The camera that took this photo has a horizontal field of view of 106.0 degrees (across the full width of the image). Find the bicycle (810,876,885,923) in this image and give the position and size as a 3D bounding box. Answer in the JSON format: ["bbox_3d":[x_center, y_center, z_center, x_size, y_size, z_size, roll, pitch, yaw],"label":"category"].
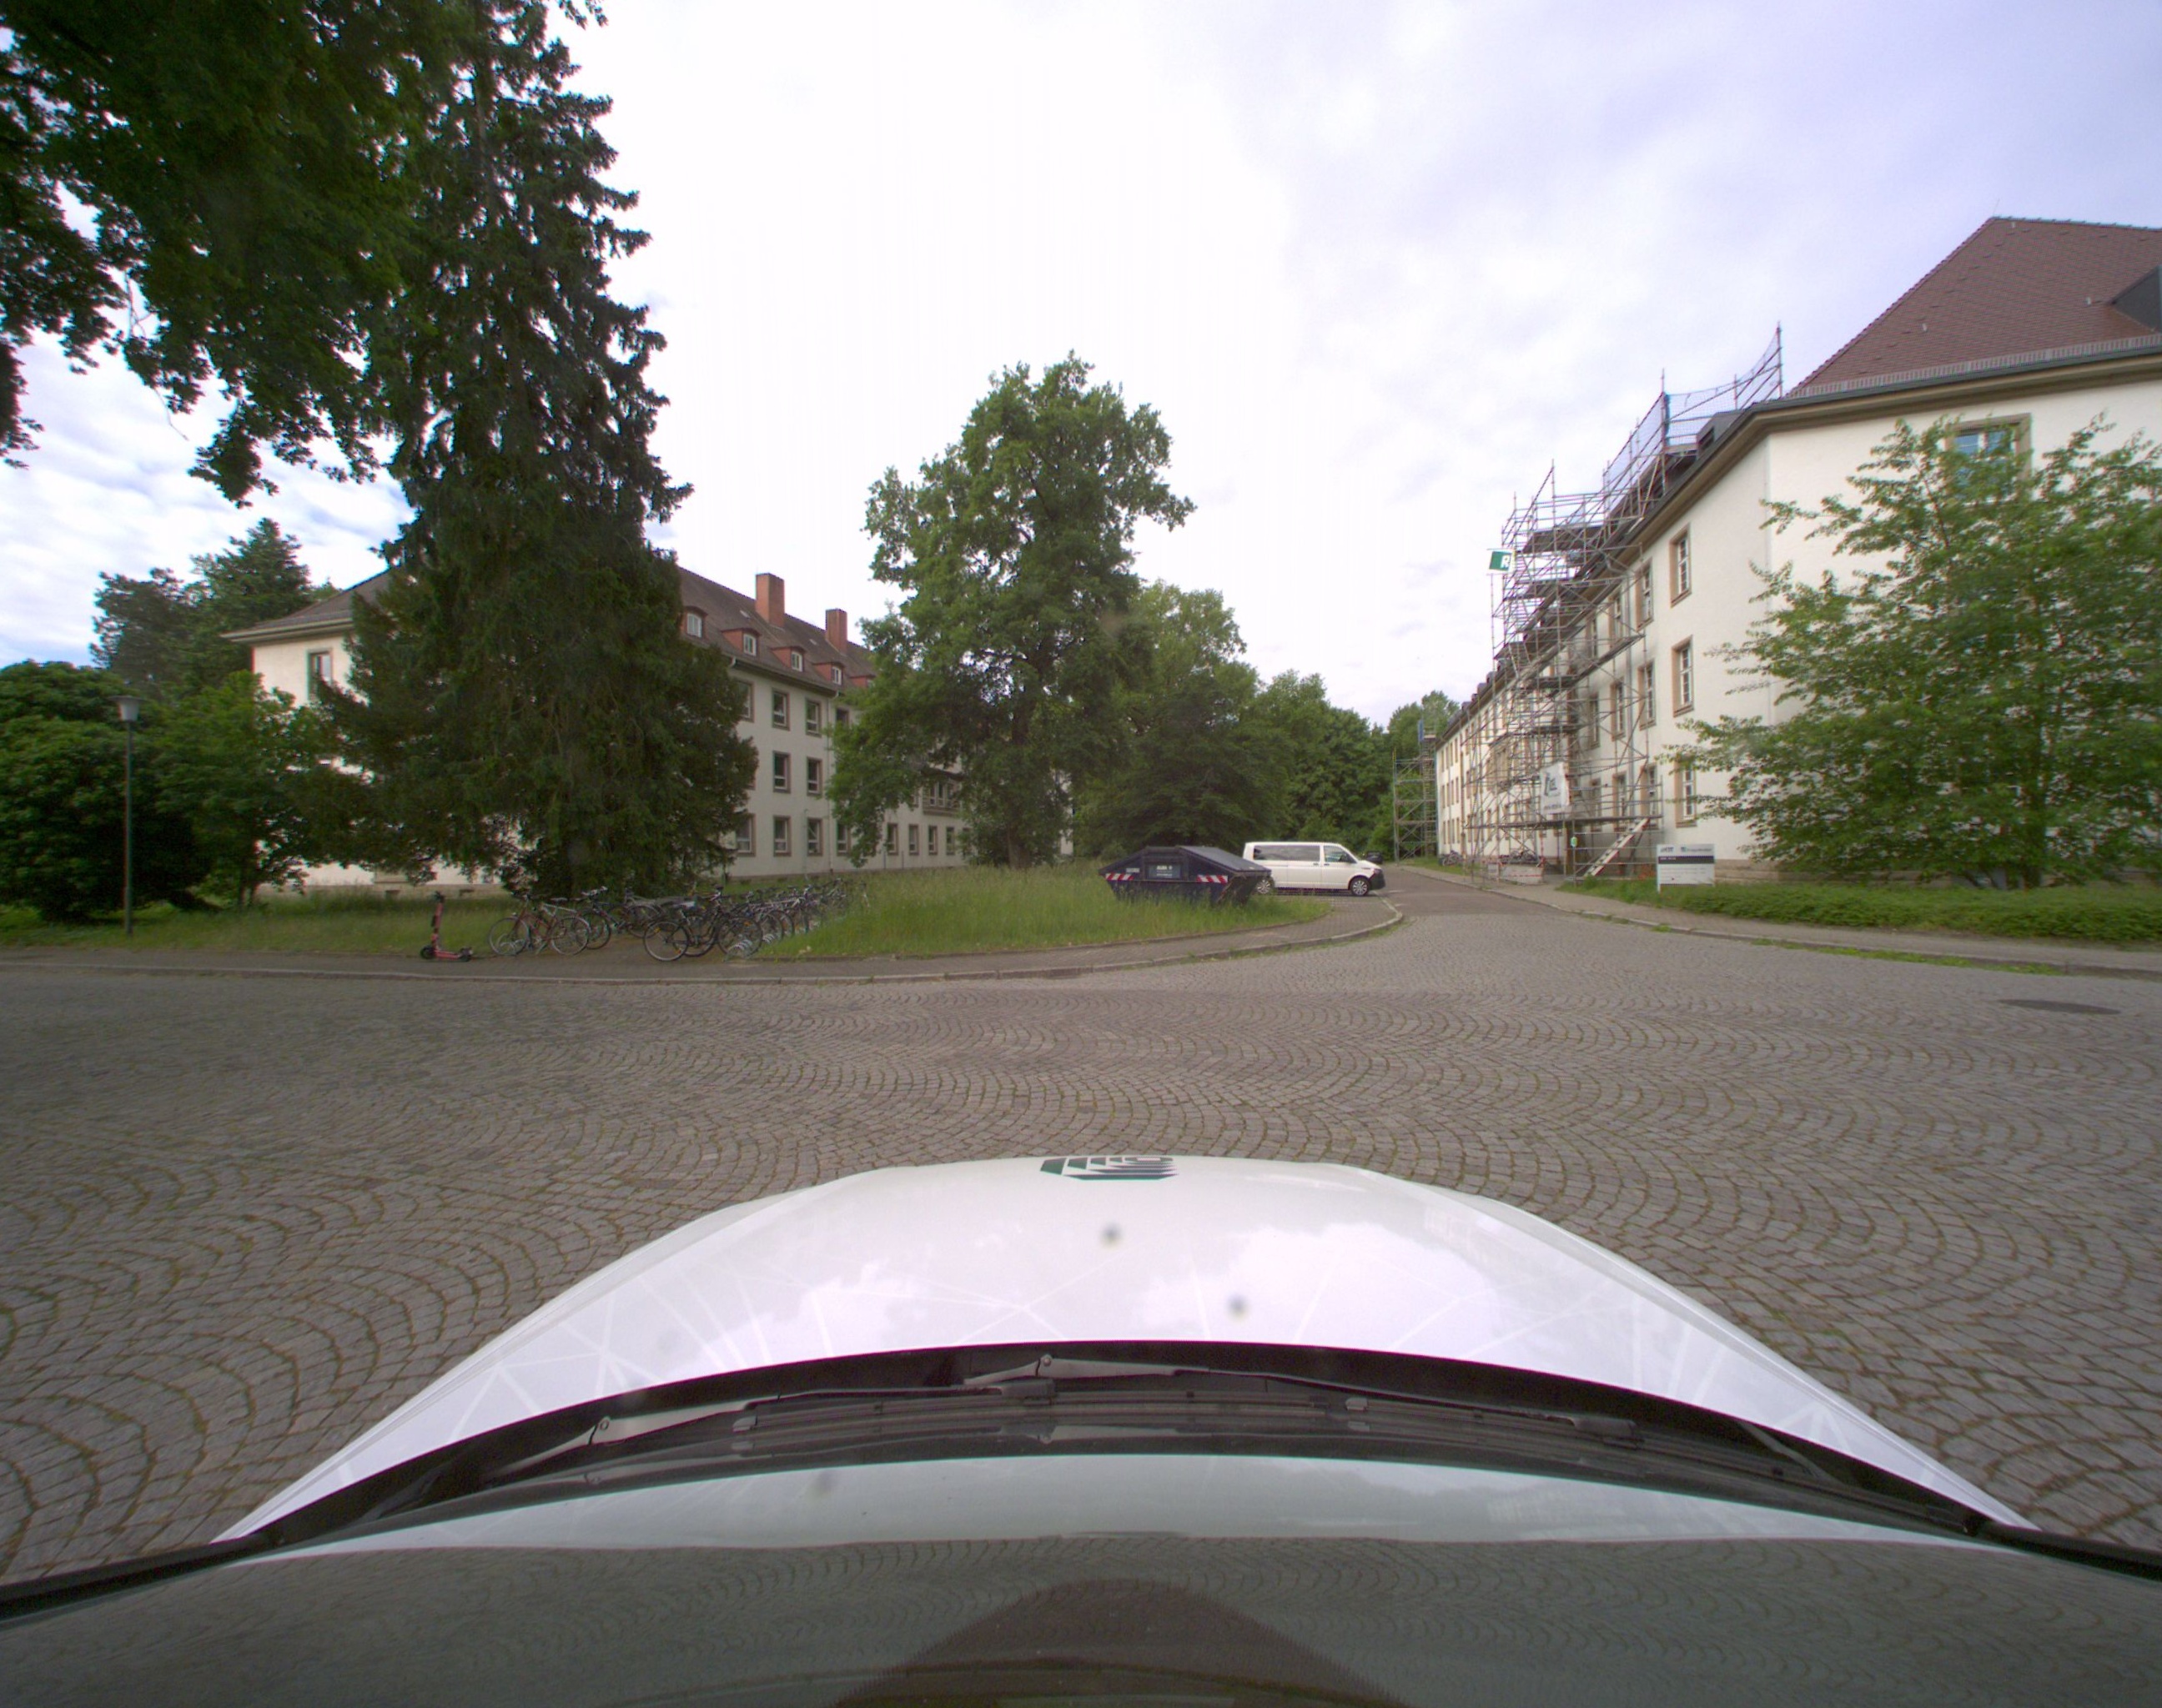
[{"bbox_3d":[-5.923,1.151,20.700,1.753,1.112,0.478,-1,-1,0],"label":"bicycle"}]

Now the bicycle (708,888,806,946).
[{"bbox_3d":[-6.208,1.198,15.640,1.656,1.008,0.478,-3,-1,0],"label":"bicycle"}]

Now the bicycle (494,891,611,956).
[{"bbox_3d":[-9.881,1.291,15.264,1.794,1.114,0.551,-1,-1,-1],"label":"bicycle"}]

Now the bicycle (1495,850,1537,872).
[{"bbox_3d":[22.202,0.371,41.624,1.839,1.095,0.514,-2,-1,24],"label":"bicycle"}]

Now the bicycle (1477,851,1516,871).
[{"bbox_3d":[22.918,0.390,44.962,1.839,1.095,0.514,-2,-1,24],"label":"bicycle"}]

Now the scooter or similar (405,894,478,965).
[{"bbox_3d":[-11.240,1.322,14.312,1.126,1.210,0.359,-1,-1,12],"label":"scooter or similar"}]

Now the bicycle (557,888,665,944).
[{"bbox_3d":[-9.761,1.267,16.962,1.819,1.065,0.616,-1,-1,-9],"label":"bicycle"}]

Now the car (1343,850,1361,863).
[{"bbox_3d":[29.817,0.239,89.705,1.567,1.339,3.969,-1,0,15],"label":"car"}]

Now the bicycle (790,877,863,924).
[{"bbox_3d":[-6.297,1.158,20.165,1.638,1.112,0.443,-1,-1,6],"label":"bicycle"}]

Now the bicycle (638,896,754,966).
[{"bbox_3d":[-6.286,1.244,13.364,1.620,1.008,0.475,-3,-1,-14],"label":"bicycle"}]

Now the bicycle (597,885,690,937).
[{"bbox_3d":[-9.834,1.270,18.341,1.748,1.065,0.550,-1,-1,-9],"label":"bicycle"}]

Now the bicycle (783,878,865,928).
[{"bbox_3d":[-6.031,1.140,19.173,1.753,1.112,0.478,-1,-1,0],"label":"bicycle"}]

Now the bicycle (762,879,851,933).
[{"bbox_3d":[-5.996,1.129,17.862,1.757,1.112,0.477,-1,-1,-5],"label":"bicycle"}]

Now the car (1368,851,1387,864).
[{"bbox_3d":[32.620,0.339,89.536,1.567,1.371,3.969,-1,0,15],"label":"car"}]

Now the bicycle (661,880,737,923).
[{"bbox_3d":[-9.842,1.222,20.999,1.671,1.042,0.552,-1,-1,2],"label":"bicycle"}]

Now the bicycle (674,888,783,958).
[{"bbox_3d":[-6.052,1.172,14.038,1.620,1.074,0.475,-3,-1,-14],"label":"bicycle"}]

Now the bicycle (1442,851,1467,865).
[{"bbox_3d":[29.623,0.324,64.604,1.839,1.095,0.514,-2,-1,24],"label":"bicycle"}]

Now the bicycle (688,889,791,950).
[{"bbox_3d":[-6.287,1.194,15.021,1.656,1.008,0.478,-3,-1,0],"label":"bicycle"}]

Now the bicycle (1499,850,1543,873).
[{"bbox_3d":[21.645,0.364,40.120,1.839,1.095,0.514,-2,-1,24],"label":"bicycle"}]

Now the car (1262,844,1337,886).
[{"bbox_3d":[10.094,0.516,37.639,3.213,1.844,1.611,-1,0,16],"label":"car"}]

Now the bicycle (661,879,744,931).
[{"bbox_3d":[-8.917,1.206,19.208,1.738,1.171,0.553,-1,-1,8],"label":"bicycle"}]

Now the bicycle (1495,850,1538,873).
[{"bbox_3d":[21.863,0.371,40.886,1.839,1.095,0.514,-2,-1,24],"label":"bicycle"}]

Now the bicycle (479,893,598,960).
[{"bbox_3d":[-9.821,1.300,14.772,1.759,1.114,0.551,-1,-1,-1],"label":"bicycle"}]

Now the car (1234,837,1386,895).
[{"bbox_3d":[8.474,0.454,30.324,5.218,1.996,1.977,-1,0,16],"label":"car"}]

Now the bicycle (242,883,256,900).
[{"bbox_3d":[-55.937,2.514,54.767,1.781,1.167,0.518,-2,-1,40],"label":"bicycle"}]

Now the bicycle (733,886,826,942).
[{"bbox_3d":[-6.058,1.203,16.405,1.656,1.008,0.478,-3,-1,0],"label":"bicycle"}]

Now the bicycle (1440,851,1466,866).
[{"bbox_3d":[29.201,0.351,63.900,1.839,1.095,0.514,-2,-1,24],"label":"bicycle"}]

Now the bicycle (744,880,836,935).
[{"bbox_3d":[-6.196,1.127,17.361,1.753,1.112,0.478,-1,-1,0],"label":"bicycle"}]

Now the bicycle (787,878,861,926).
[{"bbox_3d":[-6.190,1.153,19.619,1.638,1.112,0.443,-1,-1,6],"label":"bicycle"}]

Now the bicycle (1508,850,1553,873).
[{"bbox_3d":[21.786,0.358,39.503,1.839,1.095,0.514,-2,-1,24],"label":"bicycle"}]

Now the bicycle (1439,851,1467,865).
[{"bbox_3d":[28.601,0.318,62.638,1.838,1.095,0.514,-2,-1,39],"label":"bicycle"}]
